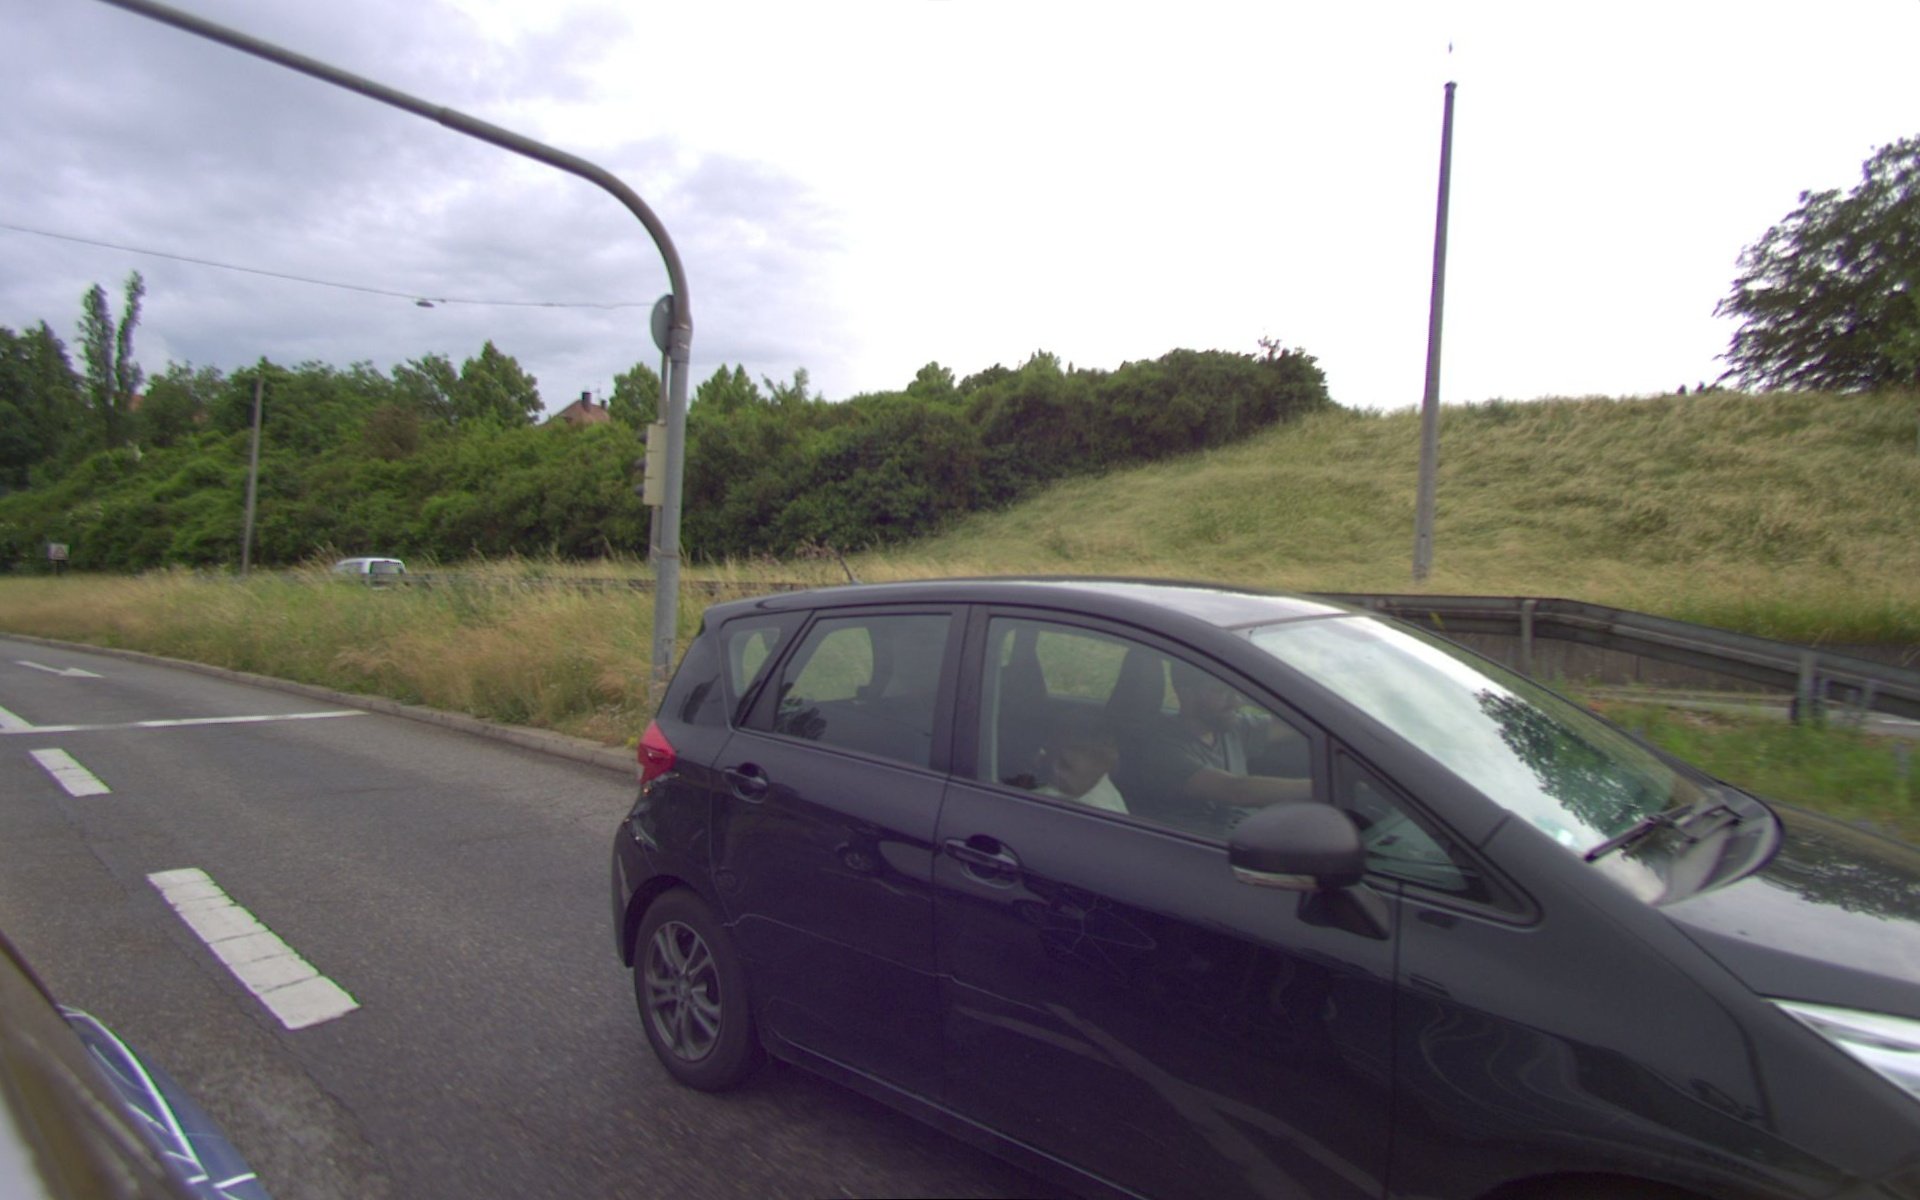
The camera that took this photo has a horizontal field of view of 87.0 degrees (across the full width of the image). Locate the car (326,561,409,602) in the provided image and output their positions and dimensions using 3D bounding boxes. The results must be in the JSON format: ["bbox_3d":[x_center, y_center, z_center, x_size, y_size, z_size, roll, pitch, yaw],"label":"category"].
[{"bbox_3d":[-22.063,-0.697,37.676,3.224,1.443,1.542,1,2,37],"label":"car"}]

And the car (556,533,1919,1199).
[{"bbox_3d":[0.753,0.683,2.739,4.041,1.577,1.777,0,2,41],"label":"car"}]
